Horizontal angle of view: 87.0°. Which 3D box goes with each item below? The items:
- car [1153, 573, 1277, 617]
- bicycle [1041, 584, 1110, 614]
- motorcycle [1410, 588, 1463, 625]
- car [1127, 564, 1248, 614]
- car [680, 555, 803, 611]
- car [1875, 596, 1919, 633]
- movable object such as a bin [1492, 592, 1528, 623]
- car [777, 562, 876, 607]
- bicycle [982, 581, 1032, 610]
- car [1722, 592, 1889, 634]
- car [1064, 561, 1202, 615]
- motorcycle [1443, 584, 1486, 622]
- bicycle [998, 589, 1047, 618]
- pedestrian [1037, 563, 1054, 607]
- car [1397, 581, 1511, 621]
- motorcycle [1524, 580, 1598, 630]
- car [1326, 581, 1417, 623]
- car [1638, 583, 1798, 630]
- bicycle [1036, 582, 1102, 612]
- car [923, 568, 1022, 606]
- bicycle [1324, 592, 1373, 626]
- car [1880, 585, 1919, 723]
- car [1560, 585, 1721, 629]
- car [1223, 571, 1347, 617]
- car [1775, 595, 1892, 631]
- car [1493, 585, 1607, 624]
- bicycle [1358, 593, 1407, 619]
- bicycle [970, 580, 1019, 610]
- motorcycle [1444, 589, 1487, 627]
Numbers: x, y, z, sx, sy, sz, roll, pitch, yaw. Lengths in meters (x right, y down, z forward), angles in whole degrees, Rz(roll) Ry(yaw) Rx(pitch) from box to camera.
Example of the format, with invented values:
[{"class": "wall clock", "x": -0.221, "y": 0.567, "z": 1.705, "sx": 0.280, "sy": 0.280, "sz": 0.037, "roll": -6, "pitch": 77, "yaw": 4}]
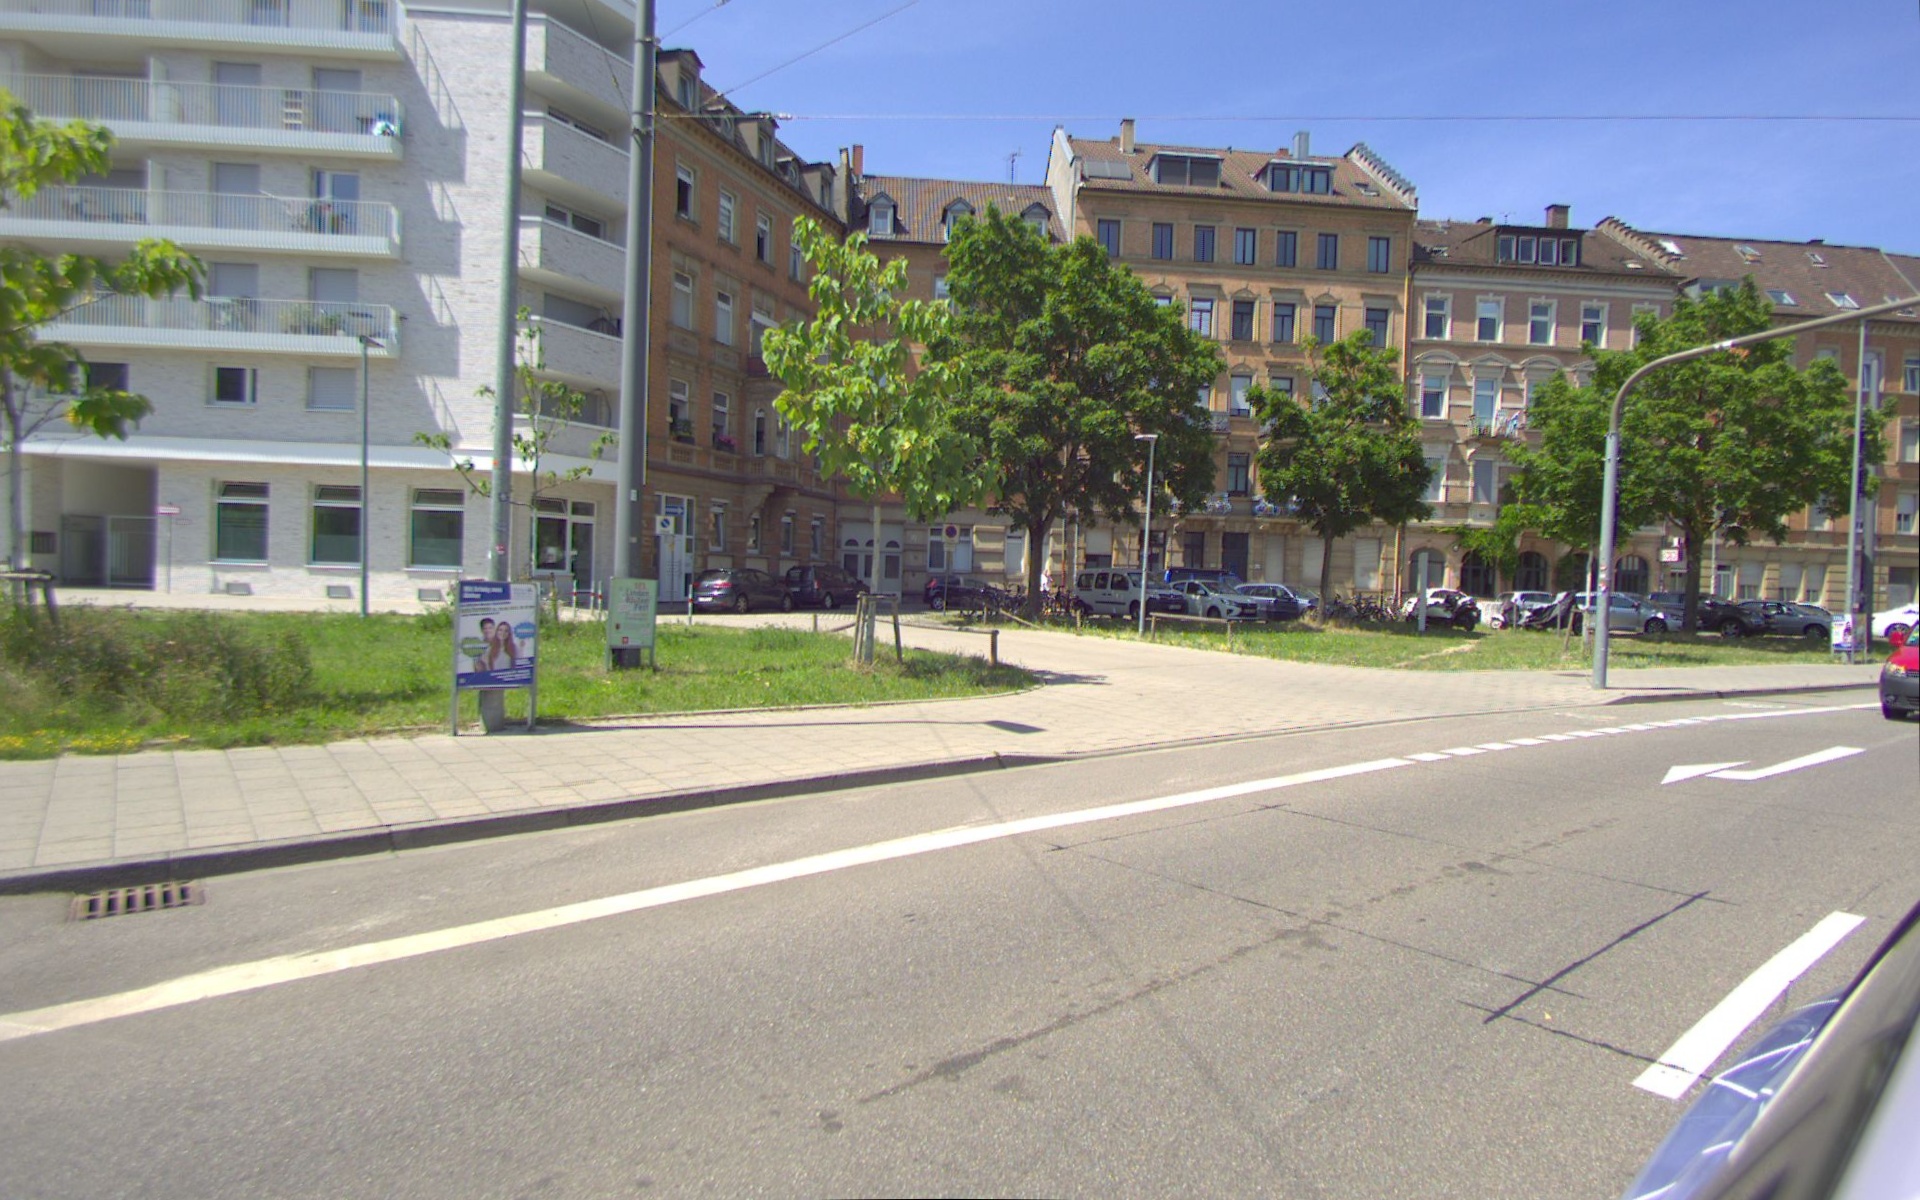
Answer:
[{"class": "car", "x": 8.463, "y": -0.174, "z": 33.948, "sx": 1.723, "sy": 1.349, "sz": 4.004, "roll": 2, "pitch": 0, "yaw": -30}, {"class": "bicycle", "x": 3.755, "y": -0.037, "z": 33.135, "sx": 2.419, "sy": 0.947, "sz": 0.500, "roll": 2, "pitch": 0, "yaw": 44}, {"class": "motorcycle", "x": 15.010, "y": 0.204, "z": 31.903, "sx": 0.517, "sy": 1.134, "sz": 1.831, "roll": 2, "pitch": 0, "yaw": -10}, {"class": "car", "x": 9.575, "y": -0.463, "z": 42.828, "sx": 4.562, "sy": 1.928, "sz": 1.927, "roll": 2, "pitch": 0, "yaw": -3}, {"class": "car", "x": -6.864, "y": -0.495, "z": 32.218, "sx": 1.678, "sy": 1.645, "sz": 4.093, "roll": 1, "pitch": 0, "yaw": 26}, {"class": "car", "x": 35.872, "y": 0.575, "z": 36.022, "sx": 2.114, "sy": 1.330, "sz": 4.775, "roll": 2, "pitch": 0, "yaw": -44}, {"class": "movable object such as a bin", "x": 17.769, "y": 0.243, "z": 32.715, "sx": 0.689, "sy": 0.949, "sz": 0.987, "roll": 2, "pitch": 0, "yaw": 8}, {"class": "car", "x": -4.933, "y": -0.559, "z": 38.013, "sx": 1.759, "sy": 1.549, "sz": 4.045, "roll": 1, "pitch": 0, "yaw": 25}, {"class": "bicycle", "x": 1.548, "y": -0.157, "z": 33.722, "sx": 0.498, "sy": 0.947, "sz": 2.051, "roll": 2, "pitch": 0, "yaw": -34}, {"class": "car", "x": 29.257, "y": 0.425, "z": 35.146, "sx": 1.931, "sy": 1.330, "sz": 4.007, "roll": 2, "pitch": 0, "yaw": -25}, {"class": "car", "x": 5.638, "y": -0.382, "z": 33.585, "sx": 1.799, "sy": 1.621, "sz": 4.880, "roll": 2, "pitch": 0, "yaw": -30}, {"class": "motorcycle", "x": 17.825, "y": 0.099, "z": 35.795, "sx": 0.800, "sy": 1.251, "sz": 2.078, "roll": 1, "pitch": 0, "yaw": 12}, {"class": "bicycle", "x": 2.073, "y": 0.109, "z": 34.023, "sx": 0.498, "sy": 0.947, "sz": 2.051, "roll": 2, "pitch": 0, "yaw": -34}, {"class": "pedestrian", "x": 3.605, "y": -0.630, "z": 42.810, "sx": 0.591, "sy": 1.842, "sz": 0.453, "roll": 2, "pitch": -1, "yaw": -4}, {"class": "car", "x": 21.205, "y": 0.049, "z": 43.528, "sx": 3.923, "sy": 1.549, "sz": 1.843, "roll": 2, "pitch": 0, "yaw": -1}, {"class": "motorcycle", "x": 18.482, "y": 0.147, "z": 31.151, "sx": 1.820, "sy": 1.430, "sz": 0.678, "roll": 2, "pitch": 2, "yaw": -2}, {"class": "car", "x": 14.980, "y": 0.062, "z": 37.094, "sx": 1.922, "sy": 1.393, "sz": 3.995, "roll": 2, "pitch": 0, "yaw": 4}, {"class": "car", "x": 26.221, "y": 0.199, "z": 35.136, "sx": 1.762, "sy": 1.488, "sz": 4.096, "roll": 2, "pitch": 0, "yaw": -30}, {"class": "bicycle", "x": 3.652, "y": -0.116, "z": 34.131, "sx": 2.420, "sy": 0.947, "sz": 0.500, "roll": 3, "pitch": 1, "yaw": 44}, {"class": "car", "x": 0.495, "y": -0.538, "z": 41.993, "sx": 3.920, "sy": 1.438, "sz": 1.779, "roll": 2, "pitch": 0, "yaw": -4}, {"class": "bicycle", "x": 11.824, "y": 0.271, "z": 30.809, "sx": 1.353, "sy": 0.959, "sz": 0.474, "roll": 2, "pitch": -1, "yaw": 18}, {"class": "car", "x": 15.358, "y": 0.796, "z": 14.710, "sx": 5.067, "sy": 1.857, "sz": 1.861, "roll": 2, "pitch": 0, "yaw": -35}, {"class": "car", "x": 23.326, "y": 0.221, "z": 34.871, "sx": 1.550, "sy": 1.393, "sz": 4.354, "roll": 2, "pitch": 0, "yaw": -29}, {"class": "car", "x": 10.951, "y": -0.202, "z": 34.335, "sx": 1.575, "sy": 1.450, "sz": 3.871, "roll": 2, "pitch": 0, "yaw": -32}, {"class": "car", "x": 38.299, "y": 0.558, "z": 44.417, "sx": 3.642, "sy": 1.438, "sz": 1.786, "roll": 2, "pitch": 0, "yaw": -4}, {"class": "car", "x": 25.546, "y": 0.181, "z": 43.887, "sx": 3.920, "sy": 1.549, "sz": 1.844, "roll": 2, "pitch": 0, "yaw": -5}, {"class": "bicycle", "x": 13.958, "y": 0.199, "z": 33.436, "sx": 1.444, "sy": 0.815, "sz": 0.493, "roll": 1, "pitch": 0, "yaw": 31}, {"class": "bicycle", "x": 1.118, "y": -0.173, "z": 33.373, "sx": 0.498, "sy": 0.947, "sz": 2.051, "roll": 2, "pitch": 0, "yaw": -34}, {"class": "motorcycle", "x": 15.901, "y": 0.249, "z": 31.876, "sx": 0.468, "sy": 1.134, "sz": 1.526, "roll": 2, "pitch": 0, "yaw": -4}]
